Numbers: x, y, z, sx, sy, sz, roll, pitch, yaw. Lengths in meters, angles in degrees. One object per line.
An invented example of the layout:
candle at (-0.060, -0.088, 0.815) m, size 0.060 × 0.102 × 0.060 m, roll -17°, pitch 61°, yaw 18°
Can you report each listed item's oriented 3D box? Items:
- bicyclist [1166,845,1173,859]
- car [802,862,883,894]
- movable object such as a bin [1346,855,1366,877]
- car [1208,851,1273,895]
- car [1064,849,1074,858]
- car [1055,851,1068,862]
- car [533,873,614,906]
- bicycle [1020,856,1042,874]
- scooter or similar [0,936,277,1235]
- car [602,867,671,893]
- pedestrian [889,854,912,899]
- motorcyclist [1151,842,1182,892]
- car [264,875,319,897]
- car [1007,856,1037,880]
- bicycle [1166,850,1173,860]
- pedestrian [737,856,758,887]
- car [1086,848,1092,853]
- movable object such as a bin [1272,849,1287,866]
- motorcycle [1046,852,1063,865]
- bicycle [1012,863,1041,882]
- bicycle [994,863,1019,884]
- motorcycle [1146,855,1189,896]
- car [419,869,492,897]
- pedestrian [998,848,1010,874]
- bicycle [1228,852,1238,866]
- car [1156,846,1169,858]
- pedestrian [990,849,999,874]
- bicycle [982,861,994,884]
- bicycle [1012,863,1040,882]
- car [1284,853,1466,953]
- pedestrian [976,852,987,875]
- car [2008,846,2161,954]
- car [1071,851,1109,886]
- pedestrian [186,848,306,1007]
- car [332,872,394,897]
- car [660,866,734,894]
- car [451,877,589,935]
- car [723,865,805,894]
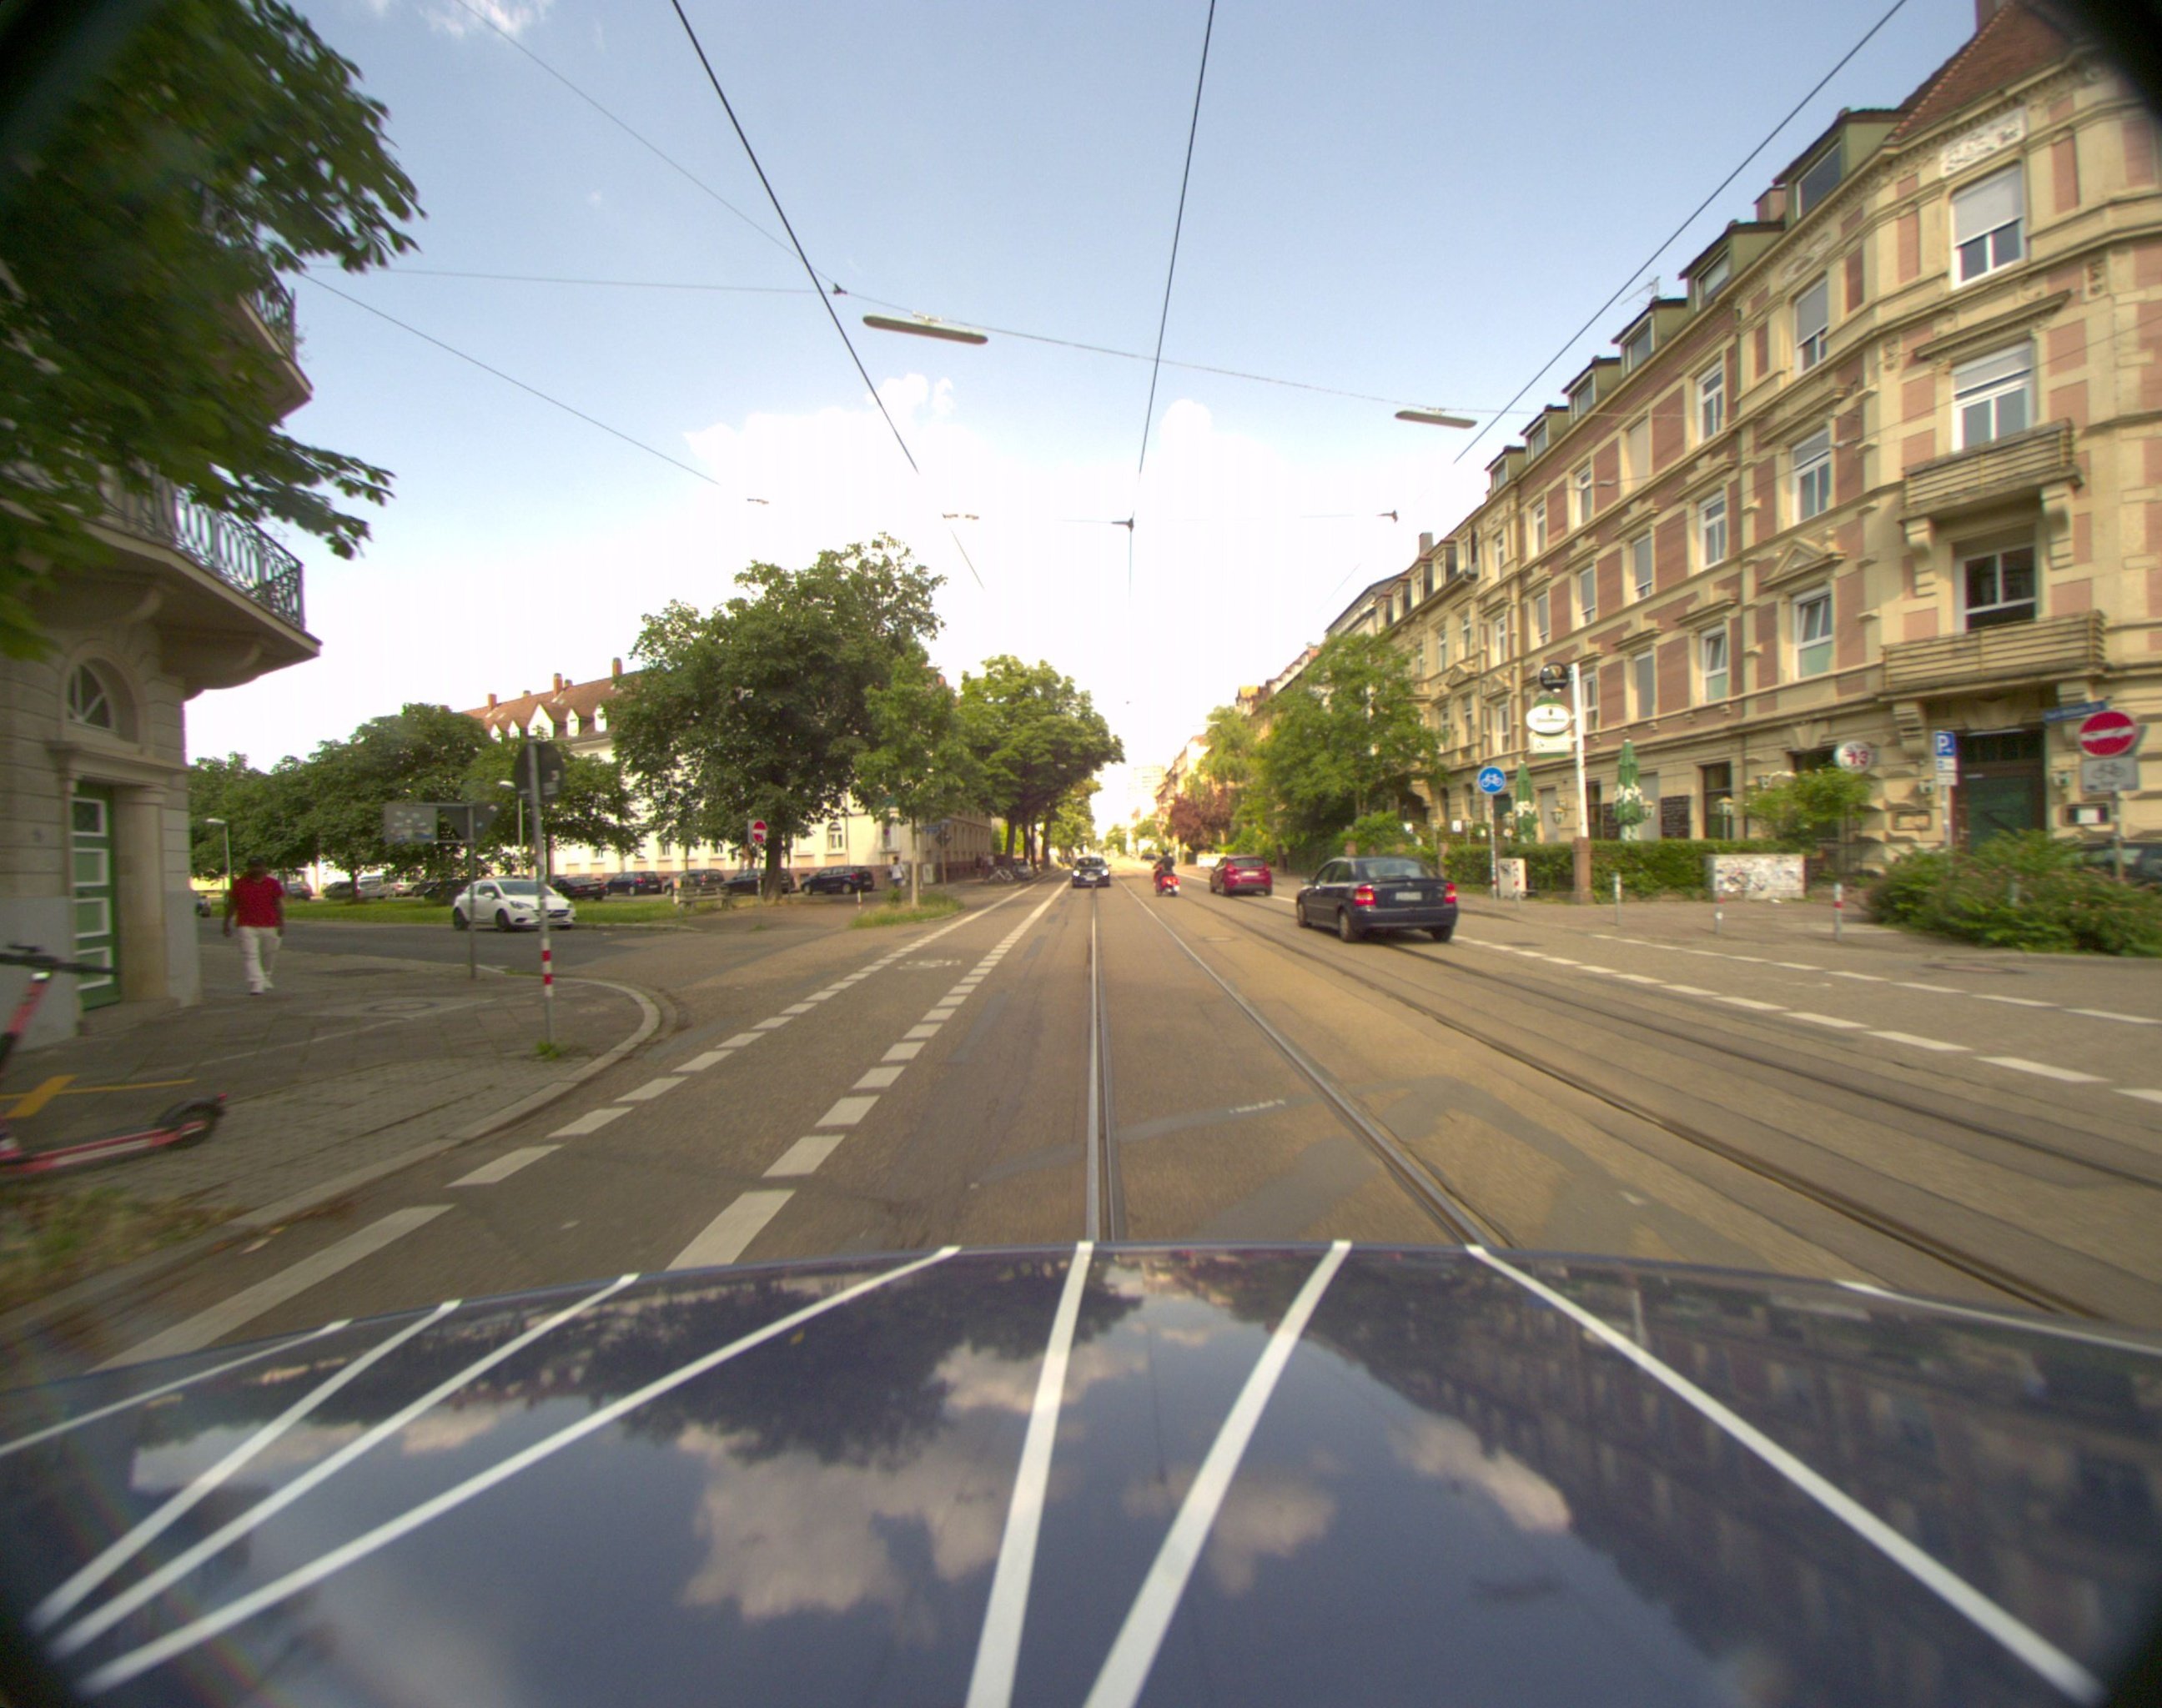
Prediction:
bicyclist at (9.124, -0.239, 78.343) m, size 0.566 × 1.417 × 0.942 m, roll -2°, pitch 1°, yaw 3°
car at (-11.901, 1.194, 37.981) m, size 3.566 × 1.443 × 1.734 m, roll -1°, pitch 1°, yaw 24°
movable object such as a bin at (11.790, 0.499, 32.575) m, size 0.580 × 0.919 × 0.641 m, roll -2°, pitch 1°, yaw 1°
car at (5.627, 0.616, 27.146) m, size 1.598 × 1.432 × 3.936 m, roll 0°, pitch 1°, yaw 2°
car at (-2.121, -0.066, 134.485) m, size 1.693 × 1.537 × 3.617 m, roll -1°, pitch 0°, yaw 0°
car at (-2.639, 0.346, 104.630) m, size 1.693 × 1.380 × 4.000 m, roll -1°, pitch 0°, yaw 0°
car at (-26.380, 1.837, 39.501) m, size 3.921 × 1.503 × 1.733 m, roll -1°, pitch 4°, yaw 28°
bicycle at (-3.604, 0.785, 54.811) m, size 1.490 × 1.214 × 0.518 m, roll -1°, pitch 2°, yaw 8°
scooter or similar at (-5.267, 1.140, 3.827) m, size 0.533 × 1.244 × 1.720 m, roll -1°, pitch 1°, yaw 2°
car at (-26.896, 1.566, 45.954) m, size 3.921 × 1.503 × 1.734 m, roll -1°, pitch 1°, yaw 28°
pedestrian at (-7.489, 0.932, 31.550) m, size 0.619 × 1.823 × 1.030 m, roll -2°, pitch 1°, yaw 3°
motorcyclist at (2.996, 0.429, 26.644) m, size 0.742 × 1.704 × 0.920 m, roll -2°, pitch 1°, yaw -16°
car at (-58.636, 2.390, 56.395) m, size 3.990 × 1.488 × 1.650 m, roll -2°, pitch 1°, yaw 27°
car at (-3.852, 0.889, 50.101) m, size 1.589 × 1.436 × 3.898 m, roll -2°, pitch 0°, yaw 1°
bicycle at (9.133, 0.096, 78.327) m, size 0.570 × 0.984 × 1.918 m, roll -2°, pitch 1°, yaw 3°
pedestrian at (-20.055, 1.036, 45.671) m, size 0.729 × 1.823 × 0.829 m, roll -1°, pitch 1°, yaw 32°
car at (2.370, -0.910, 215.307) m, size 1.693 × 1.380 × 4.000 m, roll -1°, pitch 0°, yaw 0°
movable object such as a bin at (13.118, 0.247, 50.143) m, size 0.774 × 1.101 × 0.733 m, roll -1°, pitch 1°, yaw 1°
motorcycle at (-3.202, 0.532, 90.298) m, size 0.812 × 1.485 × 2.065 m, roll -2°, pitch 1°, yaw -43°
bicycle at (-3.258, 1.110, 45.490) m, size 1.650 × 1.064 × 0.348 m, roll -2°, pitch 1°, yaw 5°
bicycle at (-3.992, 1.042, 40.740) m, size 1.271 × 1.060 × 0.478 m, roll -2°, pitch 1°, yaw 0°
motorcycle at (3.005, 0.719, 26.639) m, size 0.742 × 1.352 × 2.085 m, roll -2°, pitch 1°, yaw -16°
car at (-36.419, 1.672, 44.231) m, size 3.990 × 1.488 × 1.650 m, roll -2°, pitch 1°, yaw 26°
pedestrian at (-5.703, 0.496, 56.219) m, size 0.755 × 1.878 × 0.886 m, roll -2°, pitch 1°, yaw 1°
bicycle at (12.070, 0.398, 60.364) m, size 0.413 × 1.131 × 1.819 m, roll -2°, pitch 1°, yaw 1°
car at (13.219, -0.368, 122.927) m, size 1.715 × 1.718 × 3.736 m, roll -2°, pitch 1°, yaw 1°
pedestrian at (-6.401, 0.526, 56.299) m, size 0.506 × 1.842 × 0.687 m, roll -2°, pitch 1°, yaw 1°
bicycle at (-4.965, 0.969, 40.585) m, size 0.586 × 1.151 × 1.835 m, roll -2°, pitch 1°, yaw -6°
bicycle at (-3.331, 1.112, 45.873) m, size 1.650 × 1.064 × 0.348 m, roll -2°, pitch 1°, yaw 5°
car at (4.915, 0.728, 13.328) m, size 1.632 × 1.399 × 4.129 m, roll -2°, pitch 0°, yaw 1°
pedestrian at (-7.224, 0.678, 55.135) m, size 0.582 × 1.630 × 0.976 m, roll -2°, pitch 1°, yaw 1°
car at (15.528, 0.617, 10.288) m, size 1.888 × 1.357 × 4.970 m, roll -2°, pitch 0°, yaw 26°
car at (0.457, 0.658, 36.899) m, size 1.693 × 1.568 × 4.156 m, roll -1°, pitch 0°, yaw 1°
pedestrian at (-10.827, 0.926, 9.902) m, size 0.904 × 1.924 × 0.975 m, roll 2°, pitch -4°, yaw -42°
car at (-48.130, 2.063, 50.933) m, size 3.990 × 1.488 × 1.650 m, roll -2°, pitch 1°, yaw 26°
car at (-21.926, 1.466, 43.374) m, size 3.921 × 1.503 × 1.734 m, roll -1°, pitch 1°, yaw 28°
car at (-15.841, 1.423, 21.447) m, size 3.610 × 1.489 × 1.734 m, roll -1°, pitch -1°, yaw 28°
car at (-16.978, 1.363, 40.688) m, size 4.245 × 1.443 × 1.734 m, roll -1°, pitch 1°, yaw 28°
